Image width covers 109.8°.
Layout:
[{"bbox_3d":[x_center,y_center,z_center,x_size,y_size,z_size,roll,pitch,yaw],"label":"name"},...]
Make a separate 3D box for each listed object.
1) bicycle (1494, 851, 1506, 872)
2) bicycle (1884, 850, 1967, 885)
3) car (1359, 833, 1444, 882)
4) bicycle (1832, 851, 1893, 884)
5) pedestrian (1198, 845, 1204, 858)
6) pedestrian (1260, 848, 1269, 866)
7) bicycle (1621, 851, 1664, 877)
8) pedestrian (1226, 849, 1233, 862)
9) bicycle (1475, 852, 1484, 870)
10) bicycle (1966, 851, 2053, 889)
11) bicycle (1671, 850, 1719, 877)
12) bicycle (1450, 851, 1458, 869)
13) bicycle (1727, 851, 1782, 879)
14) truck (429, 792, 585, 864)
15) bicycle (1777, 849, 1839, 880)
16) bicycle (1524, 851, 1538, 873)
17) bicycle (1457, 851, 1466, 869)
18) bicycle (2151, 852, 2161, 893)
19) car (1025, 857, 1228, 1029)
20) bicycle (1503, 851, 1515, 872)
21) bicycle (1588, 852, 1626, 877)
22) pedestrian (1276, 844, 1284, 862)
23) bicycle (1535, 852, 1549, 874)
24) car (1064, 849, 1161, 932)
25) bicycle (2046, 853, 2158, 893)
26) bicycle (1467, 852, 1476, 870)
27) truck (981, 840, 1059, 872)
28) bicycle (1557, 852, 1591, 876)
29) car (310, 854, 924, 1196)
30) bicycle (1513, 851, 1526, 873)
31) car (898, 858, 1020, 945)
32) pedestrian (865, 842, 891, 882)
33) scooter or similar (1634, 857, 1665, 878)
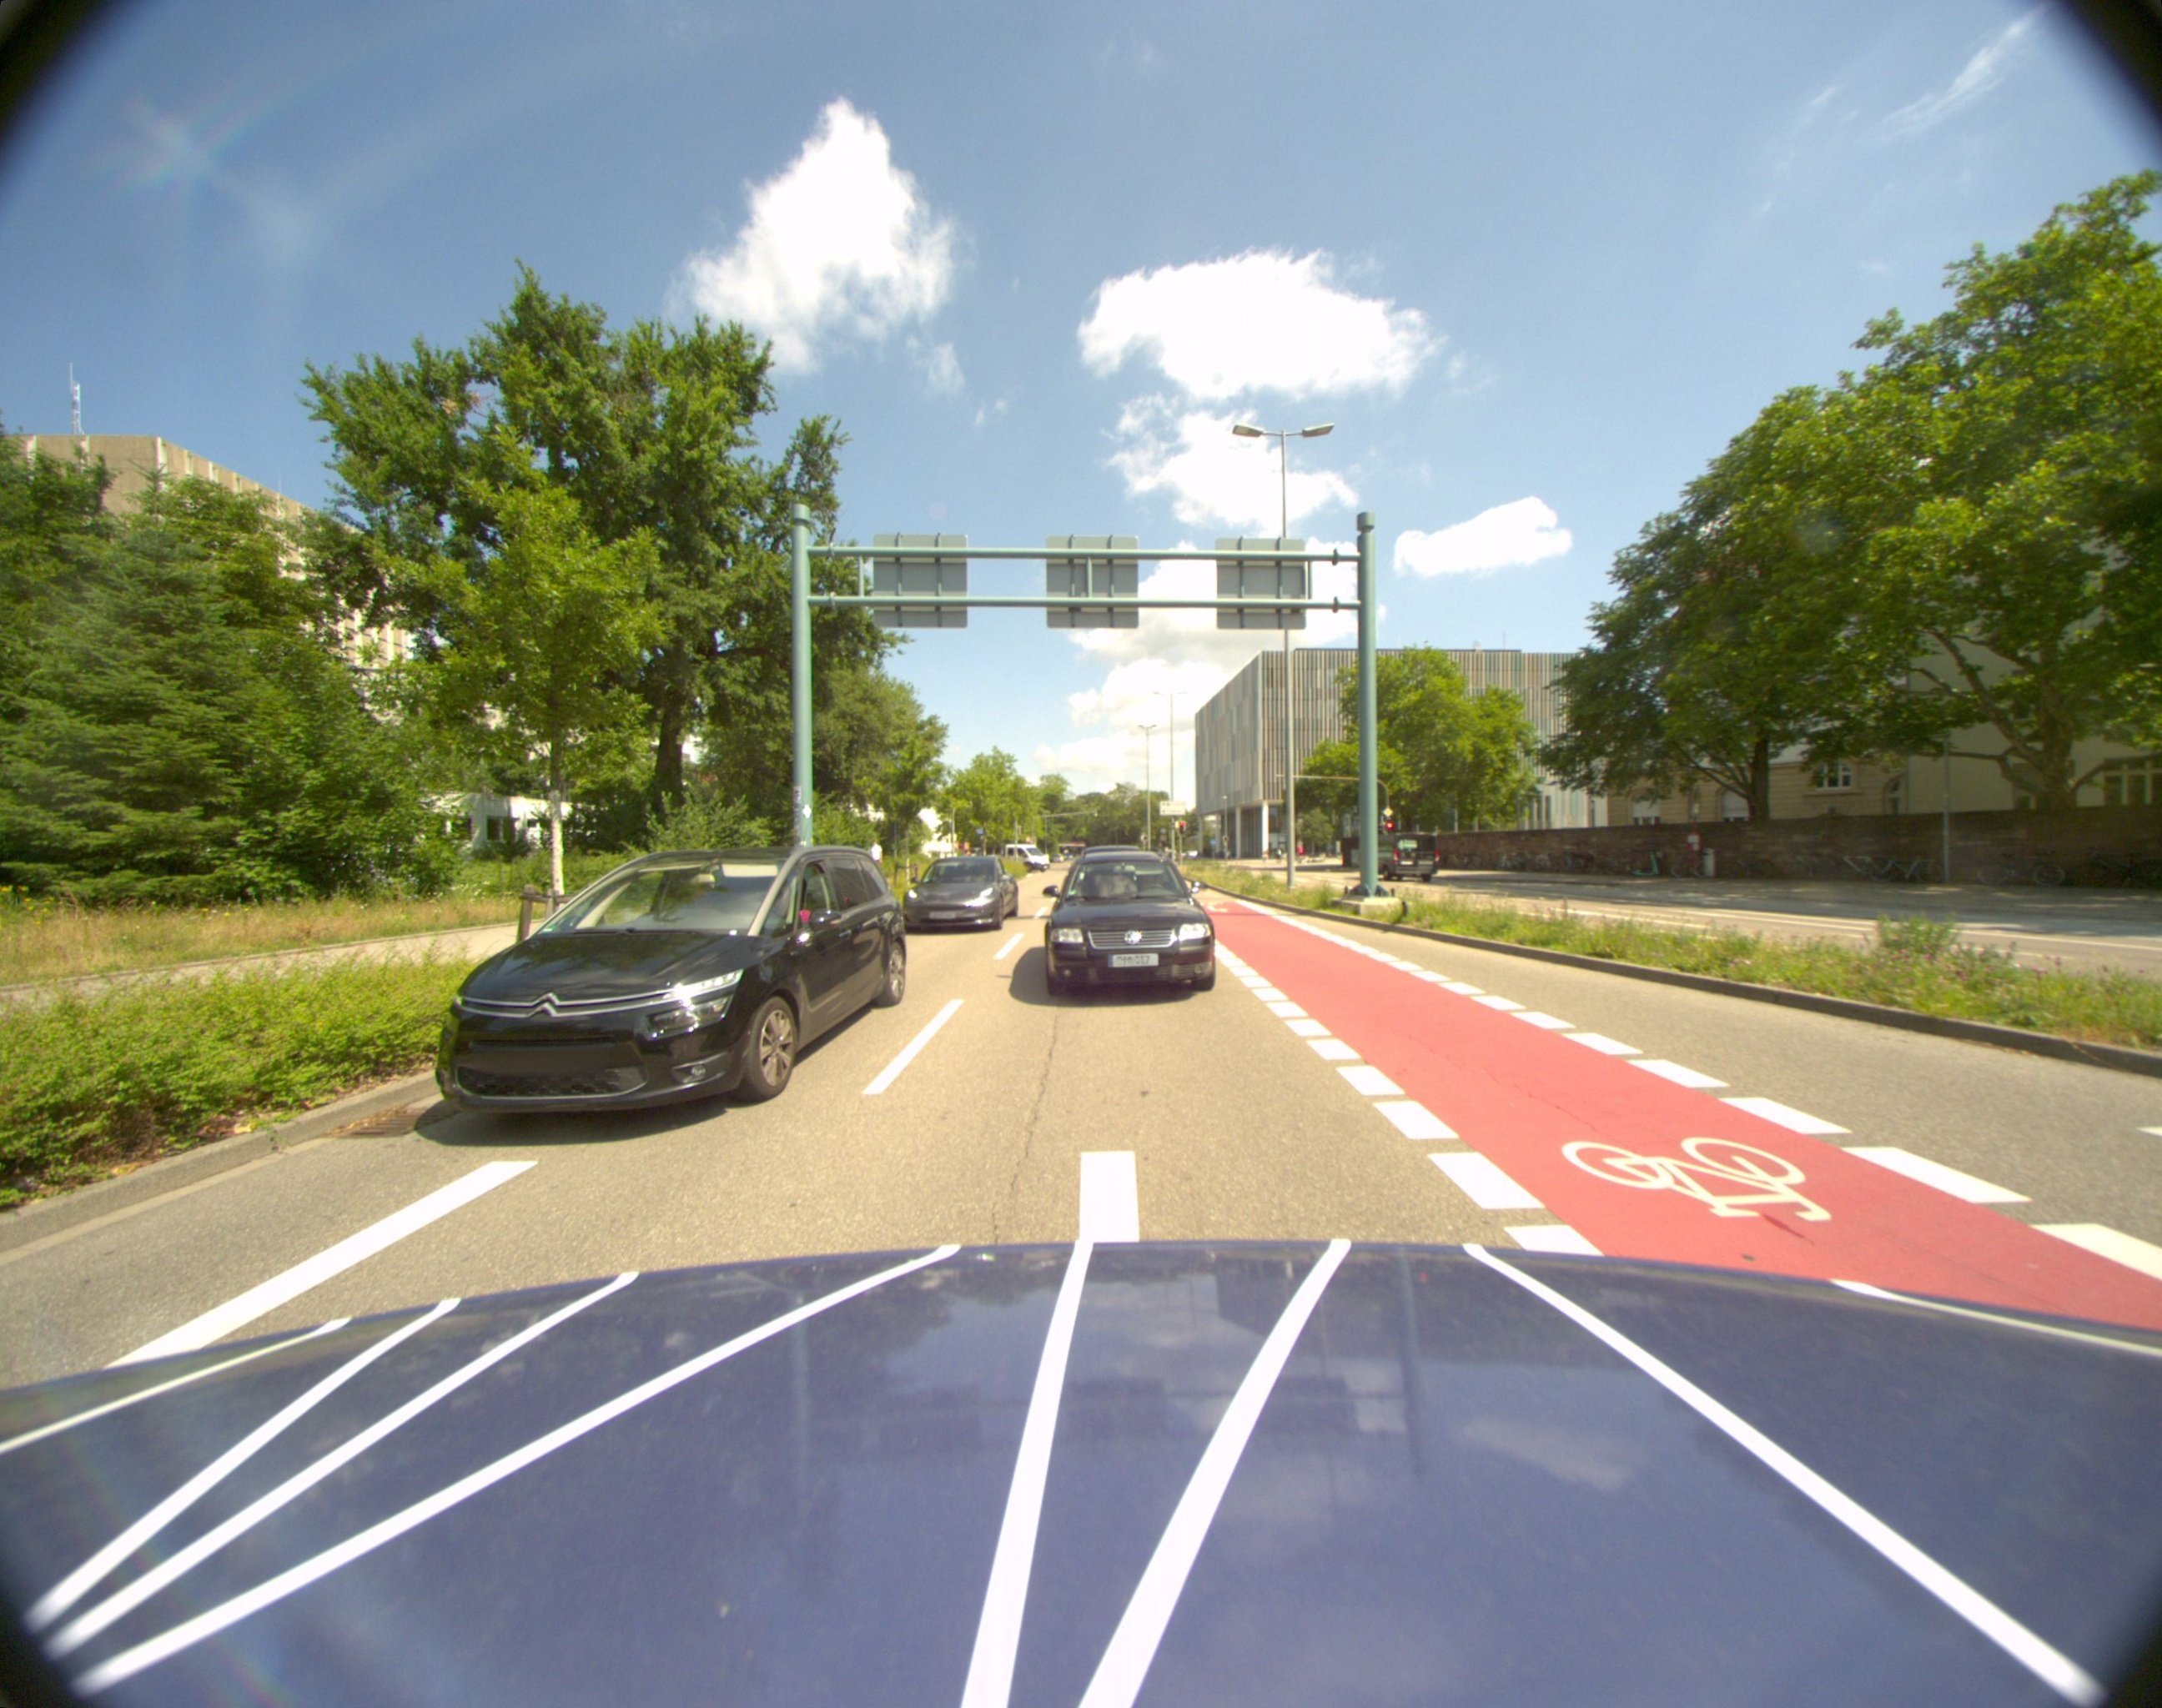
[{"bbox_3d":[22.983,0.403,41.700,0.382,1.101,1.673,0,1,22],"label":"bicycle"},{"bbox_3d":[26.352,0.395,23.744,0.398,1.037,1.759,-1,1,-13],"label":"bicycle"},{"bbox_3d":[14.966,0.153,35.785,2.214,2.158,4.520,1,0,2],"label":"car"},{"bbox_3d":[25.994,0.433,25.309,0.377,1.037,1.415,-1,1,-13],"label":"bicycle"},{"bbox_3d":[17.949,-0.340,113.908,0.715,1.906,0.807,-2,2,-4],"label":"pedestrian"},{"bbox_3d":[20.364,0.329,84.140,0.715,1.906,0.807,-2,2,-4],"label":"pedestrian"},{"bbox_3d":[24.553,0.438,33.249,0.383,1.101,1.668,-1,1,-11],"label":"bicycle"},{"bbox_3d":[20.749,0.206,106.262,0.825,1.906,0.807,-2,2,-4],"label":"pedestrian"},{"bbox_3d":[22.970,0.394,43.781,0.329,1.012,1.673,0,1,22],"label":"bicycle"},{"bbox_3d":[26.782,0.436,21.956,0.398,1.037,1.582,-1,1,-13],"label":"bicycle"},{"bbox_3d":[24.814,0.369,30.747,0.383,1.037,1.668,-1,1,-11],"label":"bicycle"},{"bbox_3d":[22.630,0.350,46.158,0.329,1.012,1.673,0,1,22],"label":"bicycle"},{"bbox_3d":[25.303,0.396,28.577,0.383,1.037,1.668,-1,1,-11],"label":"bicycle"},{"bbox_3d":[-26.737,-1.174,35.901,2.098,3.006,7.121,-2,1,-3],"label":"truck"},{"bbox_3d":[25.664,0.360,26.848,0.383,1.037,1.668,-1,1,-11],"label":"bicycle"},{"bbox_3d":[23.425,0.427,39.580,0.382,1.101,1.673,0,1,22],"label":"bicycle"},{"bbox_3d":[22.753,0.360,45.426,0.329,1.012,1.673,0,1,22],"label":"bicycle"},{"bbox_3d":[27.603,0.469,18.495,0.398,1.037,1.759,-1,1,-15],"label":"bicycle"},{"bbox_3d":[0.485,0.808,9.065,1.751,1.426,4.520,-3,0,2],"label":"car"},{"bbox_3d":[23.238,0.402,41.259,0.382,1.101,1.673,0,1,22],"label":"bicycle"},{"bbox_3d":[24.238,0.458,35.019,0.383,1.101,1.668,-1,1,-10],"label":"bicycle"},{"bbox_3d":[21.168,-0.086,80.865,0.631,1.907,0.718,-2,2,-2],"label":"pedestrian"},{"bbox_3d":[23.553,0.437,38.822,0.382,1.101,1.673,0,1,22],"label":"bicycle"},{"bbox_3d":[0.669,0.674,16.485,1.751,1.496,4.520,-3,0,2],"label":"car"},{"bbox_3d":[27.176,0.491,20.266,0.398,0.998,1.759,-1,1,-13],"label":"bicycle"},{"bbox_3d":[22.873,0.377,44.496,0.329,1.012,1.673,0,1,22],"label":"bicycle"},{"bbox_3d":[-4.935,0.147,61.057,5.801,2.287,2.468,-3,1,30],"label":"truck"},{"bbox_3d":[23.998,0.469,37.037,0.382,1.101,1.669,-1,1,-8],"label":"bicycle"},{"bbox_3d":[-2.794,0.867,6.043,1.862,1.613,4.521,-3,0,3],"label":"car"},{"bbox_3d":[23.334,0.416,40.442,0.382,1.101,1.673,0,1,22],"label":"bicycle"},{"bbox_3d":[-2.340,0.861,15.673,1.765,1.409,4.363,-3,1,0],"label":"car"},{"bbox_3d":[-9.116,0.345,34.117,0.844,1.755,0.841,-2,2,1],"label":"pedestrian"},{"bbox_3d":[24.024,0.555,32.119,0.353,0.838,1.068,-1,1,-12],"label":"scooter or similar"}]
